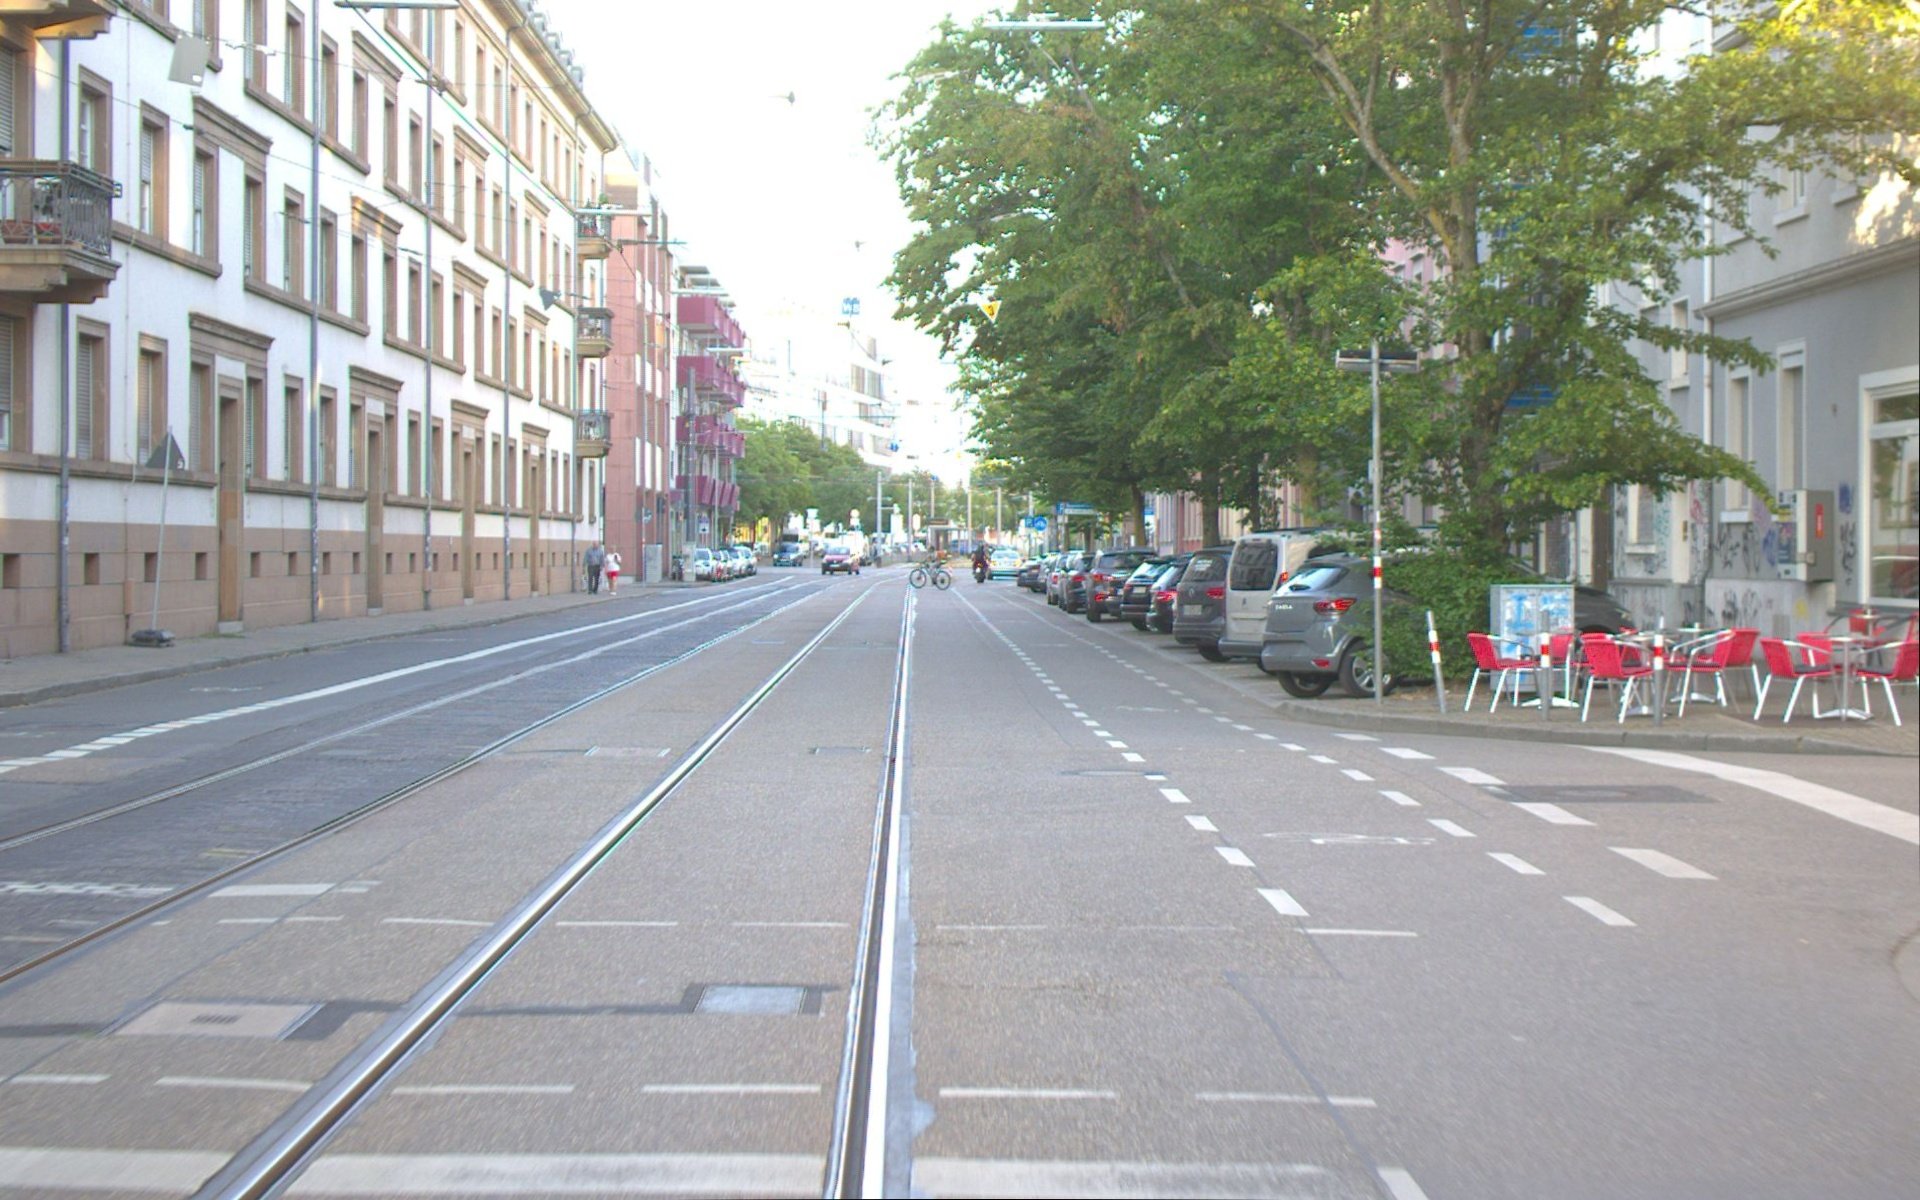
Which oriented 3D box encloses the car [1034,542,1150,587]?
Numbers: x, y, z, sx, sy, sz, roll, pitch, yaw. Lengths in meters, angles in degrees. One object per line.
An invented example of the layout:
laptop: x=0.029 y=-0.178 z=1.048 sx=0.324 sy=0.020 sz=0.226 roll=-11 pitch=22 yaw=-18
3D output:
car: x=4.531 y=-1.222 z=117.889 sx=3.554 sy=1.511 sz=1.744 roll=-1 pitch=1 yaw=-25

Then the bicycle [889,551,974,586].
bicycle: x=-1.109 y=-1.219 z=132.625 sx=3.170 sy=1.349 sz=0.958 roll=0 pitch=1 yaw=-9

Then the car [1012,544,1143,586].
car: x=4.427 y=-1.332 z=128.957 sx=4.604 sy=1.452 sz=1.711 roll=-2 pitch=1 yaw=-25

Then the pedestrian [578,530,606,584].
pedestrian: x=-11.530 y=-1.343 z=107.694 sx=0.795 sy=1.696 sz=0.981 roll=0 pitch=1 yaw=-3

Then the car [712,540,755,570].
car: x=-11.307 y=-2.254 z=171.916 sx=1.691 sy=1.409 sz=4.677 roll=2 pitch=1 yaw=2

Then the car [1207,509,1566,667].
car: x=5.242 y=-0.178 z=42.296 sx=3.986 sy=1.809 sz=1.825 roll=-2 pitch=2 yaw=-22

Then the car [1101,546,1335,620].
car: x=4.963 y=-0.329 z=66.033 sx=4.248 sy=1.383 sz=1.621 roll=0 pitch=1 yaw=-26

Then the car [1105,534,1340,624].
car: x=4.827 y=-0.397 z=63.410 sx=3.960 sy=1.548 sz=1.720 roll=-1 pitch=2 yaw=-18

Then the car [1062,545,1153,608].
car: x=3.591 y=-0.592 z=84.396 sx=1.993 sy=1.484 sz=5.036 roll=0 pitch=1 yaw=0

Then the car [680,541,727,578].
car: x=-11.337 y=-1.783 z=152.110 sx=1.717 sy=1.550 sz=4.204 roll=2 pitch=1 yaw=0

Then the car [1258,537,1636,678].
car: x=5.628 y=0.075 z=39.748 sx=3.986 sy=1.561 sz=1.720 roll=0 pitch=1 yaw=-22

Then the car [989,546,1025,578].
car: x=2.360 y=-1.902 z=172.609 sx=1.717 sy=1.550 sz=4.204 roll=1 pitch=1 yaw=1

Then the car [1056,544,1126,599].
car: x=3.486 y=-0.774 z=92.020 sx=1.780 sy=1.376 sz=4.691 roll=-1 pitch=1 yaw=2

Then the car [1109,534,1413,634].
car: x=4.689 y=-0.272 z=53.626 sx=4.376 sy=1.459 sz=1.720 roll=-1 pitch=1 yaw=-18

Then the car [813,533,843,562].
car: x=-7.104 y=-2.837 z=185.076 sx=1.559 sy=1.553 sz=3.755 roll=-1 pitch=1 yaw=-3

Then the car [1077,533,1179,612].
car: x=3.642 y=-0.614 z=75.235 sx=1.879 sy=1.612 sz=4.262 roll=-2 pitch=1 yaw=-1

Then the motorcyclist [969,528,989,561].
motorcyclist: x=0.851 y=-2.498 z=154.247 sx=0.828 sy=1.468 sz=1.207 roll=0 pitch=1 yaw=1

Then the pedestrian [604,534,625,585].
pedestrian: x=-10.813 y=-1.272 z=107.611 sx=0.590 sy=1.604 sz=0.811 roll=0 pitch=1 yaw=-3

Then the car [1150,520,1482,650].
car: x=4.912 y=-0.239 z=47.489 sx=4.177 sy=1.690 sz=1.847 roll=-1 pitch=1 yaw=-22

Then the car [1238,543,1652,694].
car: x=5.161 y=0.178 z=36.657 sx=3.986 sy=1.535 sz=1.780 roll=0 pitch=1 yaw=-20

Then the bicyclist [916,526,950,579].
bicyclist: x=-1.046 y=-1.834 z=132.617 sx=1.214 sy=2.007 sz=0.947 roll=0 pitch=1 yaw=-8

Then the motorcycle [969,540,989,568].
motorcycle: x=0.851 y=-2.074 z=154.226 sx=0.828 sy=1.236 sz=2.491 roll=0 pitch=1 yaw=2

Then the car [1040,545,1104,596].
car: x=3.154 y=-0.851 z=97.641 sx=1.619 sy=1.376 sz=3.776 roll=-1 pitch=1 yaw=-1
